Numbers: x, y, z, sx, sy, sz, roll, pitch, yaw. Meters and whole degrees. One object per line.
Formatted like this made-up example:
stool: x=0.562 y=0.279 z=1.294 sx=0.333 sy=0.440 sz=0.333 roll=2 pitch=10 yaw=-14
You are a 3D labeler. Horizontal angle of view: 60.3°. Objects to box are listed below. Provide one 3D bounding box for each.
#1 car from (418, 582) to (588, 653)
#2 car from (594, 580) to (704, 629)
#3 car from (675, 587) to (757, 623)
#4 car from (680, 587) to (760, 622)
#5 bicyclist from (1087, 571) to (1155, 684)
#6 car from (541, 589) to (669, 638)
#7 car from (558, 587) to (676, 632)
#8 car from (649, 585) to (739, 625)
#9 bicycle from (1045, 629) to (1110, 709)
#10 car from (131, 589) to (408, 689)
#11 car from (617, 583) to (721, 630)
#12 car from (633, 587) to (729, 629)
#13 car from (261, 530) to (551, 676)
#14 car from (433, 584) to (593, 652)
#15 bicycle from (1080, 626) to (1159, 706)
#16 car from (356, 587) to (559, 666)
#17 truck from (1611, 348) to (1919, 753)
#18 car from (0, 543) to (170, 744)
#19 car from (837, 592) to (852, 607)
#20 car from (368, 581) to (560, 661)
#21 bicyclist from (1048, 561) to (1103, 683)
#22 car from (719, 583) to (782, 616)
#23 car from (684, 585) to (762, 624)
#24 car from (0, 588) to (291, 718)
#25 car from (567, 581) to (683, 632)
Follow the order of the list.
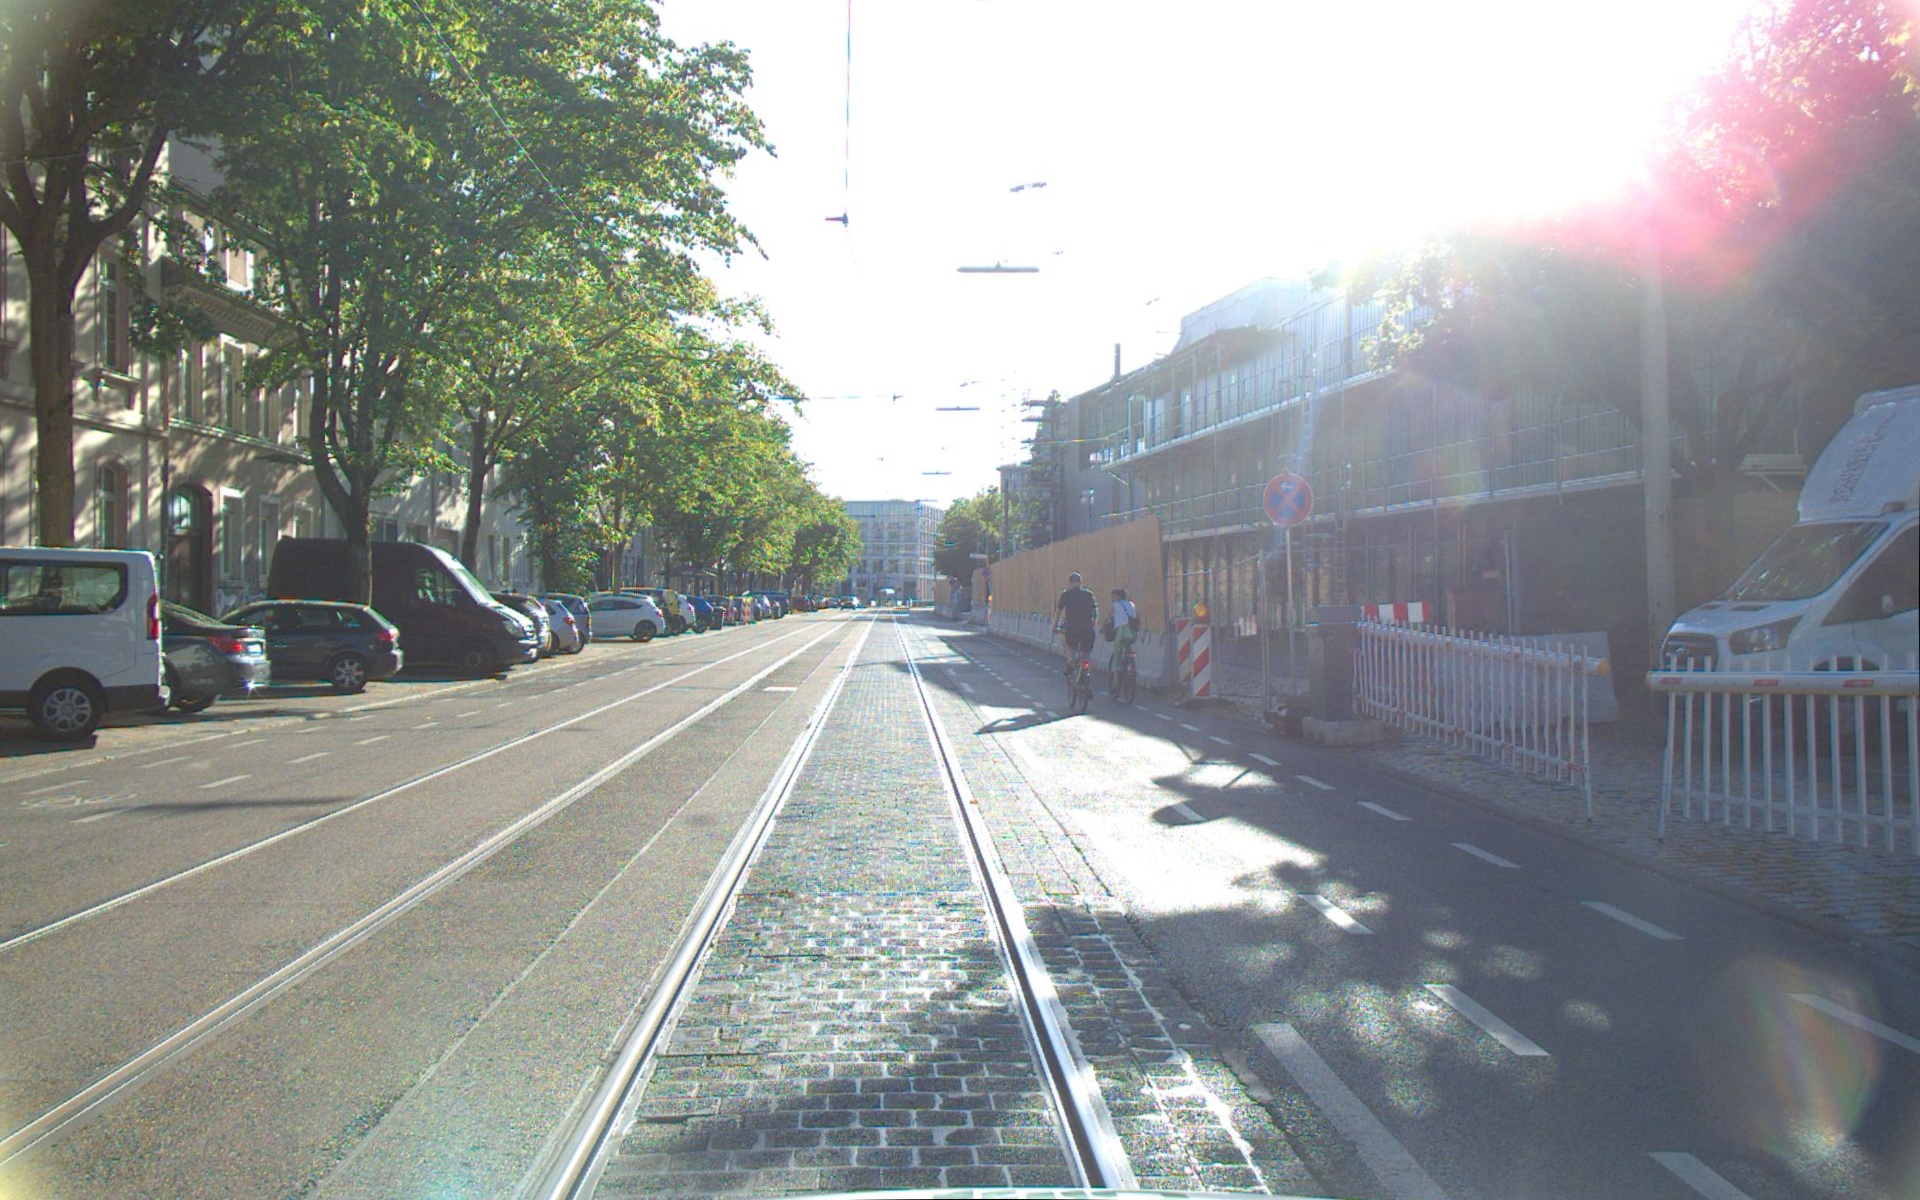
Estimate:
car: x=-11.823 y=0.461 z=42.999 sx=4.012 sy=1.636 sz=1.824 roll=3 pitch=-1 yaw=-10
car: x=-12.599 y=0.164 z=66.973 sx=4.034 sy=1.784 sz=1.814 roll=3 pitch=-1 yaw=-25
car: x=-13.213 y=0.279 z=89.672 sx=4.034 sy=1.784 sz=1.814 roll=3 pitch=-1 yaw=-25
car: x=-13.505 y=0.255 z=93.005 sx=4.034 sy=1.784 sz=1.814 roll=3 pitch=-1 yaw=-25
bicyclist: x=2.450 y=0.407 z=25.314 sx=0.875 sy=1.668 sz=1.100 roll=1 pitch=0 yaw=-2
car: x=-12.210 y=0.464 z=56.874 sx=4.031 sy=1.478 sz=1.816 roll=3 pitch=-1 yaw=-23
car: x=-12.760 y=0.367 z=61.522 sx=4.031 sy=1.478 sz=1.816 roll=3 pitch=-1 yaw=-23
car: x=-13.143 y=0.261 z=81.754 sx=4.034 sy=1.784 sz=1.814 roll=3 pitch=-1 yaw=-25
bicycle: x=1.638 y=0.948 z=23.285 sx=0.667 sy=1.036 sz=1.920 roll=0 pitch=0 yaw=-3
car: x=-11.224 y=0.642 z=27.185 sx=4.026 sy=1.444 sz=1.818 roll=3 pitch=-1 yaw=-20
car: x=-12.423 y=0.286 z=70.606 sx=4.034 sy=1.784 sz=1.814 roll=3 pitch=-1 yaw=-25
car: x=-13.013 y=0.368 z=77.059 sx=4.034 sy=1.784 sz=1.814 roll=3 pitch=-1 yaw=-25
car: x=-11.097 y=0.075 z=33.507 sx=5.081 sy=2.623 sz=2.243 roll=3 pitch=-1 yaw=-6
car: x=-12.234 y=0.494 z=45.516 sx=4.012 sy=1.636 sz=1.824 roll=3 pitch=-1 yaw=-10
bicycle: x=2.431 y=0.984 z=25.496 sx=0.875 sy=1.112 sz=2.429 roll=1 pitch=0 yaw=-2
car: x=-10.926 y=0.574 z=36.195 sx=4.012 sy=1.636 sz=1.824 roll=1 pitch=0 yaw=-10
truck: x=10.069 y=-0.534 z=15.501 sx=6.955 sy=3.406 sz=2.389 roll=-2 pitch=0 yaw=-3
car: x=-11.078 y=0.438 z=17.066 sx=5.266 sy=2.026 sz=2.021 roll=-1 pitch=1 yaw=-27
car: x=-14.396 y=-0.053 z=205.323 sx=1.648 sy=1.869 sz=3.867 roll=3 pitch=-1 yaw=-6
car: x=-11.484 y=0.487 z=38.516 sx=4.012 sy=1.636 sz=1.824 roll=3 pitch=-1 yaw=-10
bicyclist: x=1.627 y=0.308 z=23.344 sx=0.667 sy=1.687 sz=0.811 roll=0 pitch=0 yaw=-4
car: x=-14.876 y=-0.030 z=117.287 sx=4.034 sy=2.090 sz=1.814 roll=3 pitch=-1 yaw=-25
car: x=-13.749 y=0.245 z=95.932 sx=4.034 sy=2.090 sz=1.814 roll=3 pitch=-1 yaw=-25
car: x=-10.789 y=0.640 z=20.844 sx=4.013 sy=1.444 sz=1.824 roll=3 pitch=-1 yaw=-11
car: x=-12.985 y=0.237 z=64.084 sx=4.034 sy=1.784 sz=1.814 roll=3 pitch=-1 yaw=-25
